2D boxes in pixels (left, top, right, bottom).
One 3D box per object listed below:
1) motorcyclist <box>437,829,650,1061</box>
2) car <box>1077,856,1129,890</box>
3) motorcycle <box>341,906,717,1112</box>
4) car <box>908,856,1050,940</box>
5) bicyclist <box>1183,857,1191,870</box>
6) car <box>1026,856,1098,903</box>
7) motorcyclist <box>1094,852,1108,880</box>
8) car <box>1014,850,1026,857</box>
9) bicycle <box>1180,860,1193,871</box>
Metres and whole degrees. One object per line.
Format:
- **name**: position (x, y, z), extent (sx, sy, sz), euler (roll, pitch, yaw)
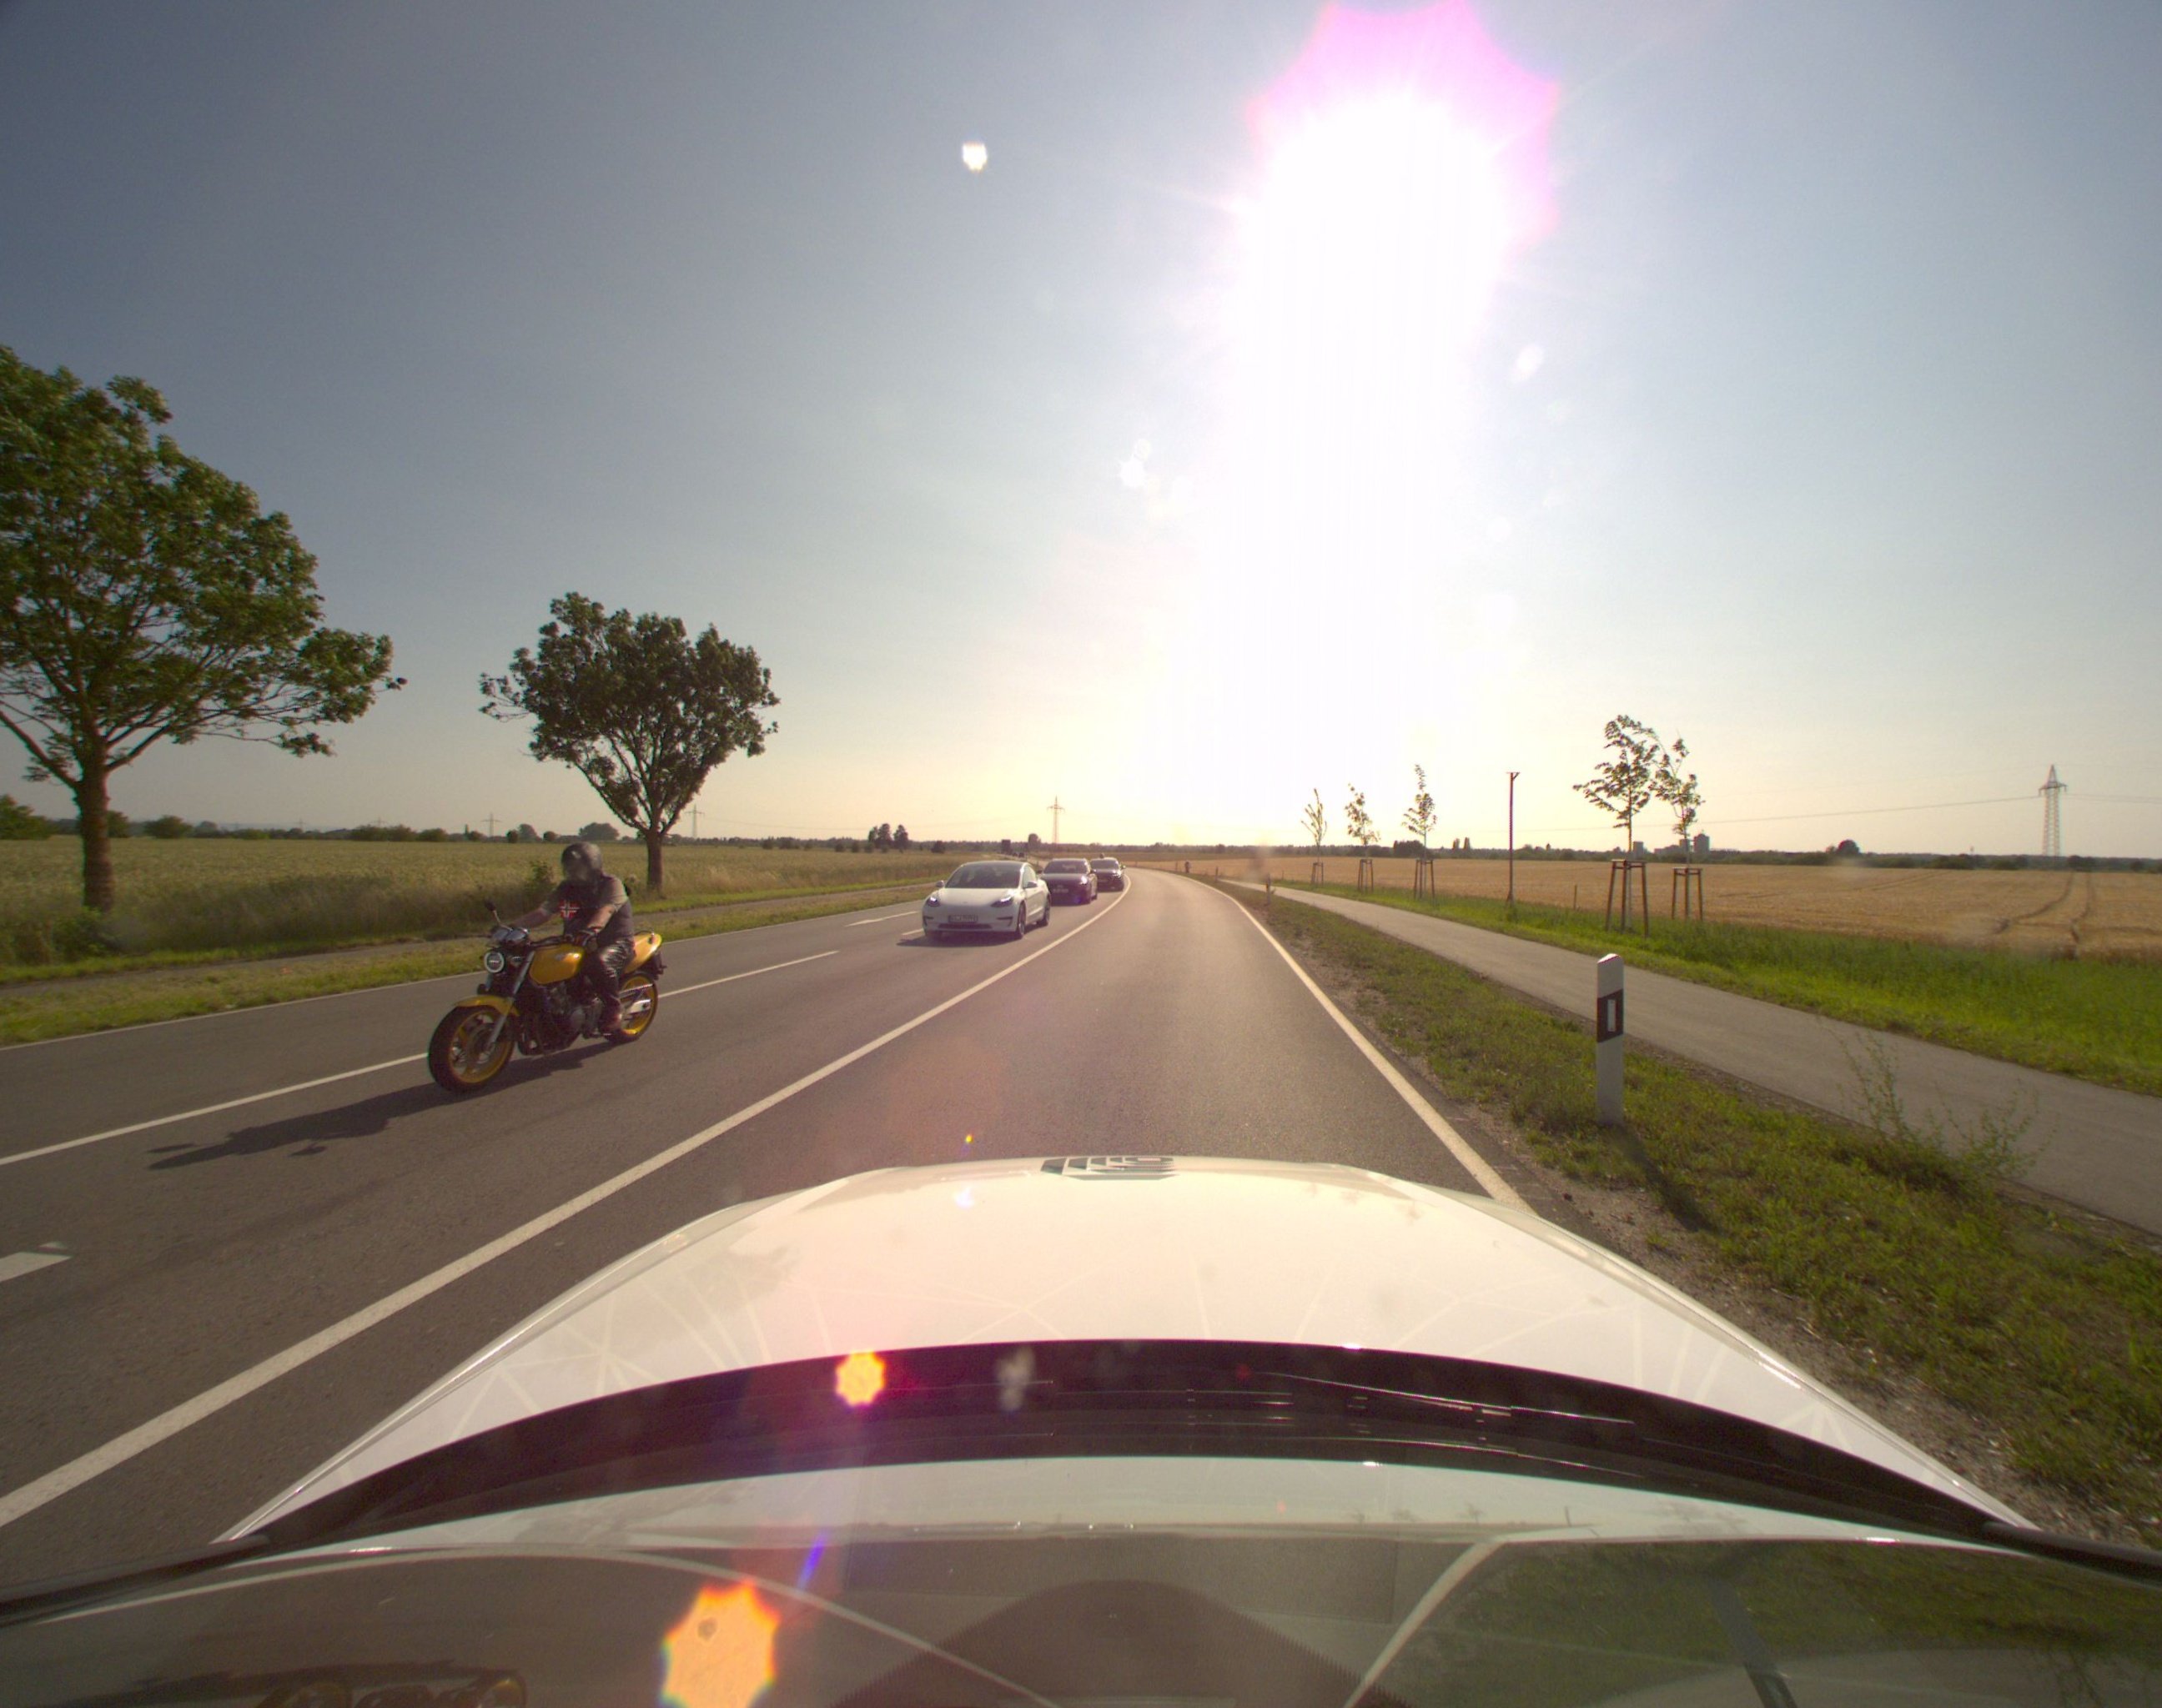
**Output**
- **motorcyclist**: position (-3.857, 0.591, 5.954), extent (0.675, 1.515, 1.184), euler (0, 0, 8)
- **car**: position (1.092, 0.827, 37.477), extent (1.879, 1.436, 4.807), euler (0, 0, 8)
- **motorcycle**: position (-3.805, 0.982, 6.009), extent (0.892, 1.044, 2.434), euler (0, 0, 8)
- **car**: position (-1.885, 0.777, 16.504), extent (1.880, 1.466, 4.283), euler (0, 0, 6)
- **bicyclist**: position (11.791, 1.045, 90.612), extent (0.637, 1.457, 0.815), euler (3, -1, -7)
- **car**: position (-0.552, 0.805, 27.625), extent (1.880, 1.461, 4.313), euler (0, 0, 6)
- **motorcyclist**: position (1.082, 0.619, 43.415), extent (0.674, 1.495, 0.848), euler (0, 0, 6)
- **car**: position (-19.128, -0.230, 253.815), extent (1.851, 1.833, 4.424), euler (4, 0, -31)
- **bicycle**: position (11.790, 1.243, 90.835), extent (0.844, 1.142, 2.201), euler (3, 0, -7)
